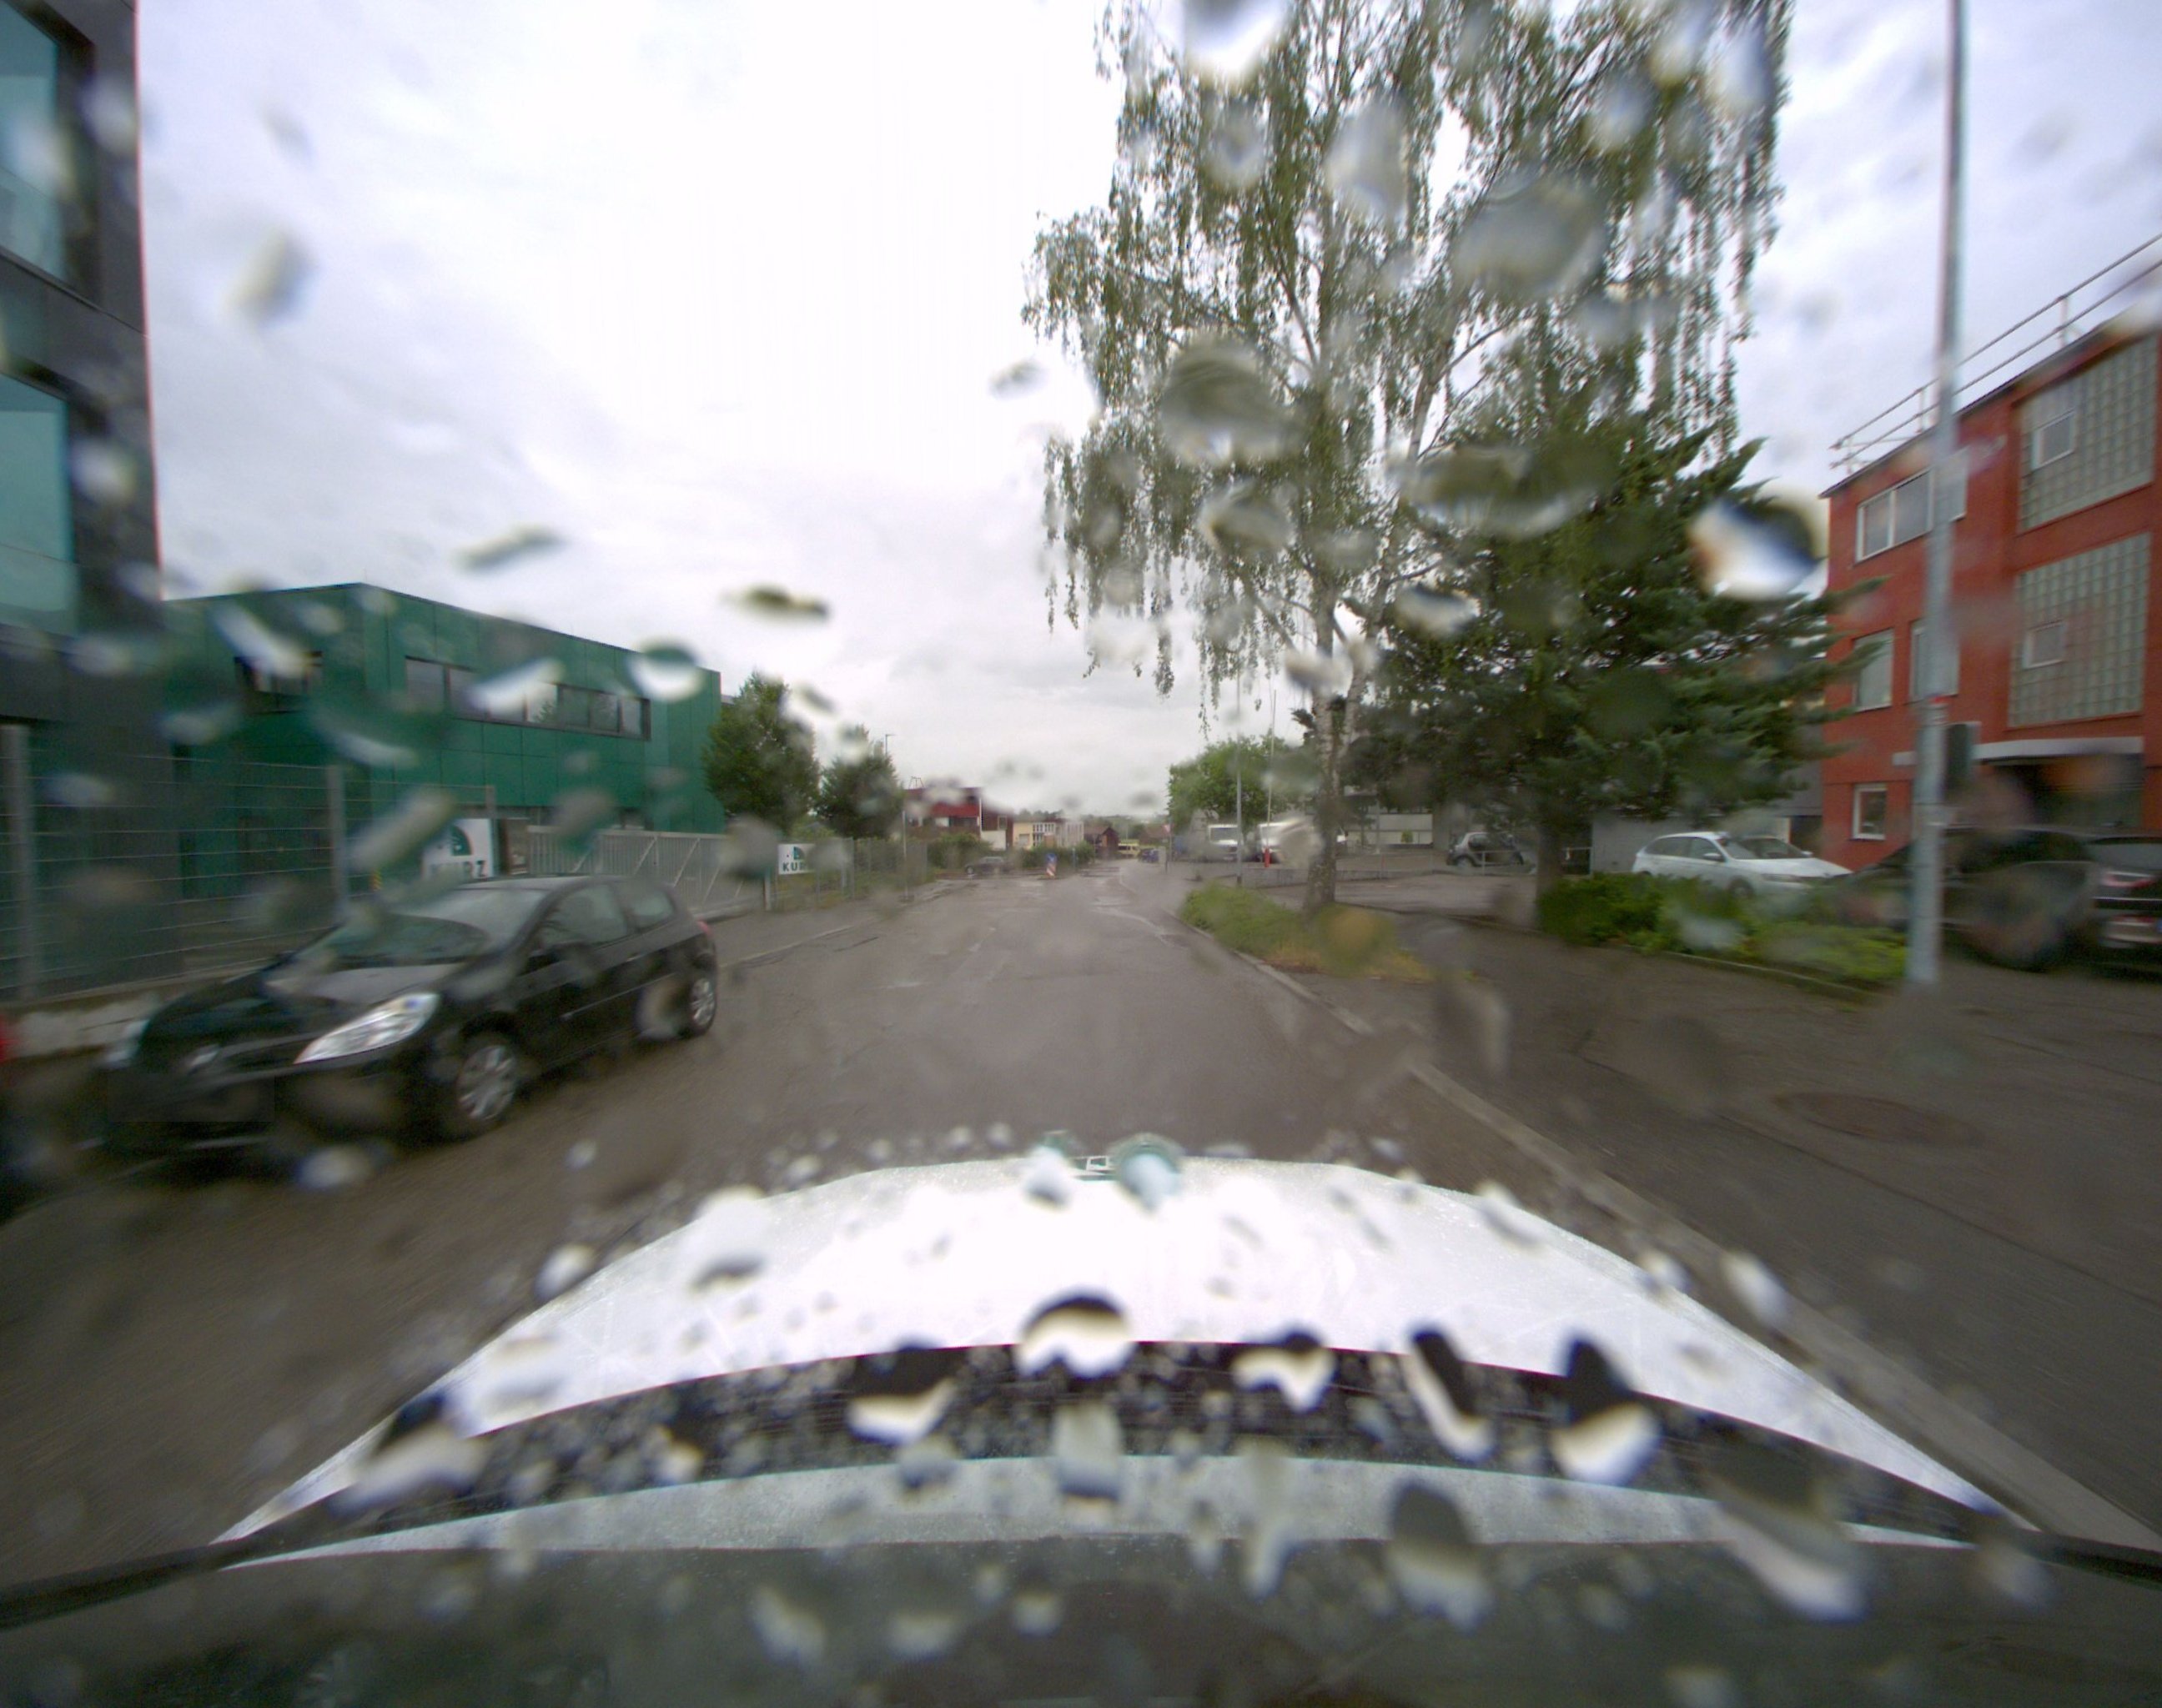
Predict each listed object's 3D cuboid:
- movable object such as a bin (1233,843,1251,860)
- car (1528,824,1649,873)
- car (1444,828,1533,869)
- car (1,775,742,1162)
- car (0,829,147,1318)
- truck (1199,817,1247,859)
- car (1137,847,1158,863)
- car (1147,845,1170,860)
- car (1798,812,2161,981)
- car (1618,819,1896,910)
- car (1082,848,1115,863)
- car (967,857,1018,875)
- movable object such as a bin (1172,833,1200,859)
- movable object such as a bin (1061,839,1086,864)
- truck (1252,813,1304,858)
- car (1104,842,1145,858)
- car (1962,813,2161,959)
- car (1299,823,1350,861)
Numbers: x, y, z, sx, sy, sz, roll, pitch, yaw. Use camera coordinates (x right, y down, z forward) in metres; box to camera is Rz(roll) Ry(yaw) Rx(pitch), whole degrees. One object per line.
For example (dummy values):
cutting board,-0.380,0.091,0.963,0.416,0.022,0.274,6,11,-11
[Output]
movable object such as a bin,10.147,-0.148,51.271,1.043,1.042,0.887,-1,0,11
car,16.815,-0.173,27.099,3.016,1.495,1.634,-2,0,9
car,15.609,-0.186,31.311,2.694,1.446,1.683,-2,-1,12
car,-4.185,0.550,5.826,1.733,1.797,3.960,-1,0,2
car,-4.308,0.726,0.957,1.626,1.558,4.084,-2,0,1
truck,8.029,-0.859,46.588,2.096,2.214,5.659,-1,0,4
car,8.076,0.128,99.185,2.069,1.835,4.466,-1,0,-2
car,8.774,-0.144,92.943,1.948,1.610,4.440,-1,0,-4
car,11.066,0.399,9.737,1.981,1.579,4.531,1,0,16
car,12.810,0.167,15.876,1.897,1.470,4.330,-2,0,2
car,2.357,0.251,111.043,4.355,1.905,2.012,-1,-1,44
car,-7.668,1.037,70.270,3.957,1.534,1.768,-1,0,16
movable object such as a bin,6.322,-0.473,49.211,1.304,1.500,1.855,-1,0,-5
movable object such as a bin,-0.803,-0.284,87.685,1.719,2.556,3.354,-1,0,16
truck,11.032,-0.981,45.873,2.231,2.342,4.846,-2,0,7
car,6.816,-0.586,128.497,5.956,2.415,2.476,-1,0,22
car,13.538,0.354,9.750,1.975,1.678,4.530,-1,0,16
car,13.838,-0.623,46.594,2.045,2.014,4.950,-1,0,8
